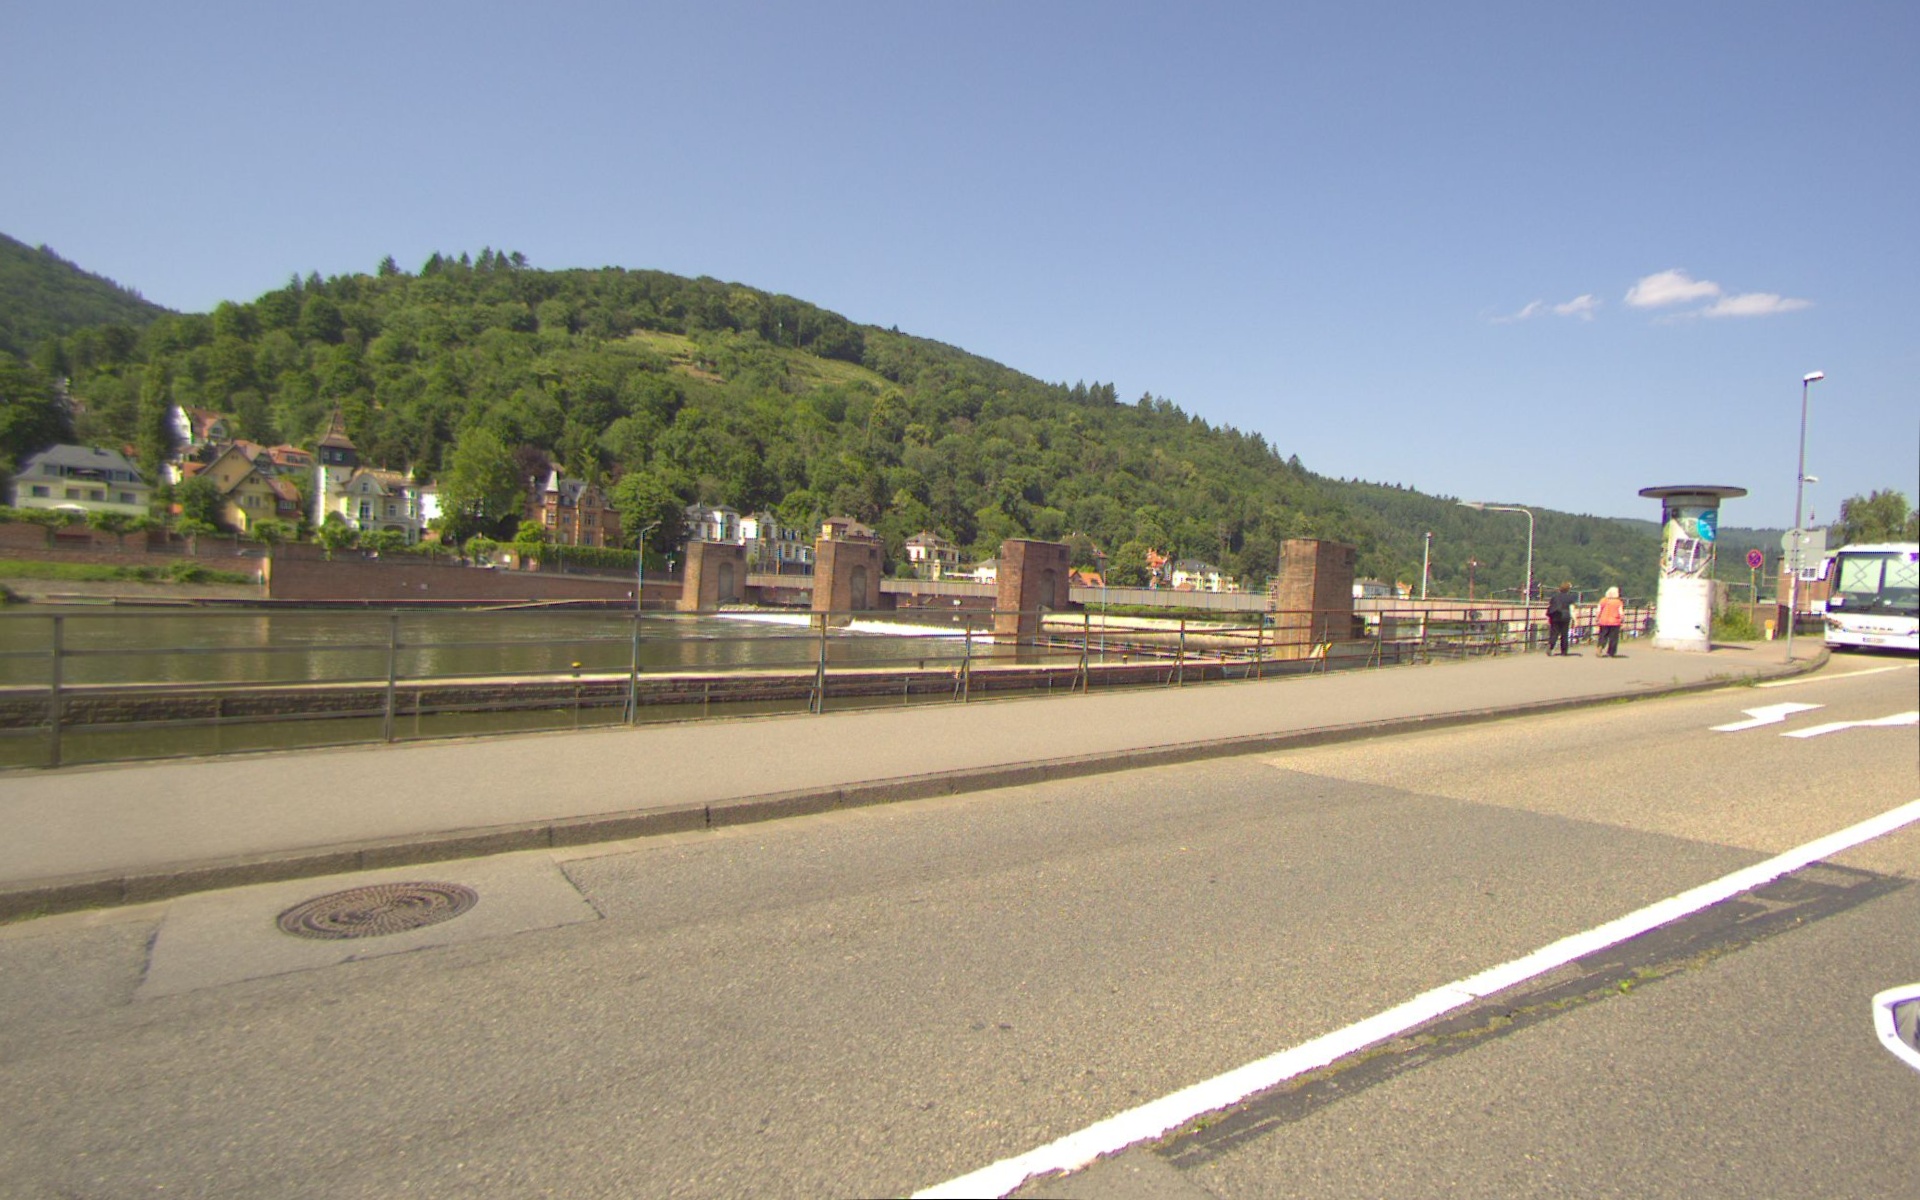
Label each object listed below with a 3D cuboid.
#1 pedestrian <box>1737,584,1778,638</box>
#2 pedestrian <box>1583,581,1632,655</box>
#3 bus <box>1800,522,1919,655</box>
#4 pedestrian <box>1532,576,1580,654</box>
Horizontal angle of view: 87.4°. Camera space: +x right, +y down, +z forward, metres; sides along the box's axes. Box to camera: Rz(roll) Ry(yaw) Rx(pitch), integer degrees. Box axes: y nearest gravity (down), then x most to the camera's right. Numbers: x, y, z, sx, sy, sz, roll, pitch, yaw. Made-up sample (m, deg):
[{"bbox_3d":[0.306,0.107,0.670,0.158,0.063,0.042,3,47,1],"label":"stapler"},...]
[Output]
[{"bbox_3d":[27.810,0.385,35.010,1.032,1.820,0.885,1,1,-40],"label":"pedestrian"},{"bbox_3d":[14.733,0.406,22.862,0.811,1.643,0.696,1,1,-42],"label":"pedestrian"},{"bbox_3d":[32.842,-0.350,34.852,13.131,3.852,2.932,1,5,-39],"label":"bus"},{"bbox_3d":[13.523,0.327,22.787,0.767,1.732,0.677,1,1,-40],"label":"pedestrian"}]
